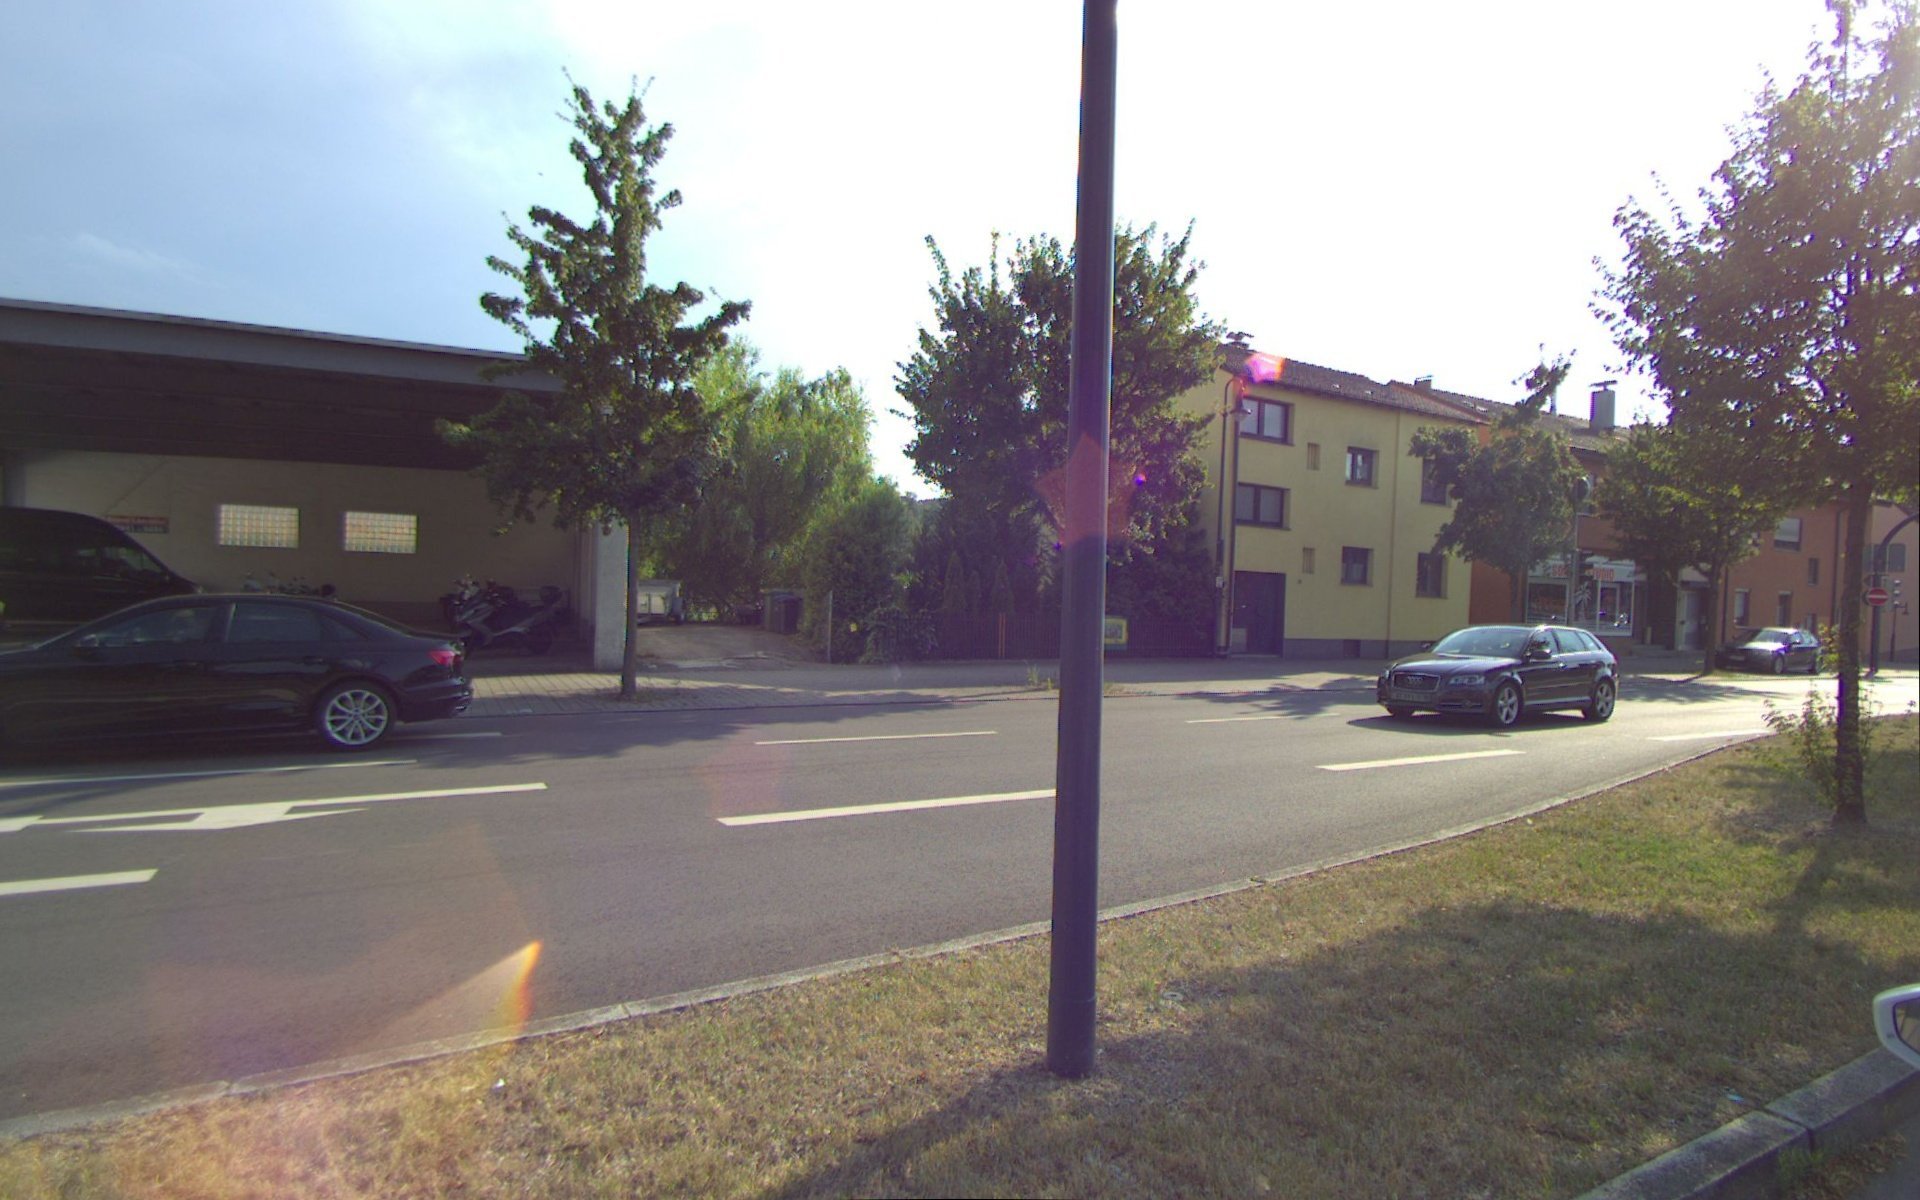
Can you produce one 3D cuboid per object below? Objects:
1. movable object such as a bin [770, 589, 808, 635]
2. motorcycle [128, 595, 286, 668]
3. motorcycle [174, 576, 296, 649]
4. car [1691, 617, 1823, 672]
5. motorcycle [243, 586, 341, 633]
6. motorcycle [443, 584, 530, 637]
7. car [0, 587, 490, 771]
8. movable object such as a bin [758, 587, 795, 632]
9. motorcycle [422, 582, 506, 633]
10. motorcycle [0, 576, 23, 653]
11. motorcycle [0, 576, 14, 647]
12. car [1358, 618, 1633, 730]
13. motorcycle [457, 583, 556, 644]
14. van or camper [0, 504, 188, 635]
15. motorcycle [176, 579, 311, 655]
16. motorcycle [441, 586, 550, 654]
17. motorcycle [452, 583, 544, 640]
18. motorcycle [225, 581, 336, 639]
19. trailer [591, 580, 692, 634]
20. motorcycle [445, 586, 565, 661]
[{"bbox_3d":[-4.246,0.293,24.882,0.688,1.101,0.727,1,3,-30],"label":"movable object such as a bin"},{"bbox_3d":[-12.430,0.510,16.617,2.111,1.139,0.631,1,0,0],"label":"motorcycle"},{"bbox_3d":[-15.244,0.259,21.136,2.111,1.468,0.594,1,0,0],"label":"motorcycle"},{"bbox_3d":[25.822,1.427,32.524,3.949,1.573,1.836,1,2,-27],"label":"car"},{"bbox_3d":[-17.002,0.247,25.589,2.111,1.138,0.563,1,0,0],"label":"motorcycle"},{"bbox_3d":[-12.367,0.280,26.301,0.553,1.325,2.086,1,0,30],"label":"motorcycle"},{"bbox_3d":[-6.995,0.649,9.372,4.590,1.440,1.834,1,0,-30],"label":"car"},{"bbox_3d":[-4.686,0.246,25.653,0.712,1.101,0.727,1,3,-30],"label":"movable object such as a bin"},{"bbox_3d":[-13.415,0.217,27.231,0.553,1.325,2.086,1,0,30],"label":"motorcycle"},{"bbox_3d":[-17.146,0.231,16.833,0.637,1.329,2.007,1,0,23],"label":"motorcycle"},{"bbox_3d":[-18.541,0.198,18.160,0.637,1.329,2.007,1,0,23],"label":"motorcycle"},{"bbox_3d":[7.908,1.019,14.745,4.141,1.405,1.637,1,0,-30],"label":"car"},{"bbox_3d":[-10.396,0.303,23.118,0.612,1.325,2.086,1,0,30],"label":"motorcycle"},{"bbox_3d":[-20.362,-0.637,22.062,1.963,2.716,5.033,1,0,26],"label":"van or camper"},{"bbox_3d":[-13.431,0.312,18.846,2.111,1.347,0.563,1,0,0],"label":"motorcycle"},{"bbox_3d":[-9.610,0.402,20.866,0.553,1.325,2.086,1,0,30],"label":"motorcycle"},{"bbox_3d":[-11.327,0.280,24.711,0.573,1.325,2.086,1,0,30],"label":"motorcycle"},{"bbox_3d":[-15.736,0.219,23.280,2.111,1.275,0.647,1,0,0],"label":"motorcycle"},{"bbox_3d":[-7.991,0.127,25.489,1.692,1.199,3.594,1,1,-5],"label":"trailer"},{"bbox_3d":[-8.547,0.426,18.958,0.553,1.325,2.112,1,0,30],"label":"motorcycle"}]
